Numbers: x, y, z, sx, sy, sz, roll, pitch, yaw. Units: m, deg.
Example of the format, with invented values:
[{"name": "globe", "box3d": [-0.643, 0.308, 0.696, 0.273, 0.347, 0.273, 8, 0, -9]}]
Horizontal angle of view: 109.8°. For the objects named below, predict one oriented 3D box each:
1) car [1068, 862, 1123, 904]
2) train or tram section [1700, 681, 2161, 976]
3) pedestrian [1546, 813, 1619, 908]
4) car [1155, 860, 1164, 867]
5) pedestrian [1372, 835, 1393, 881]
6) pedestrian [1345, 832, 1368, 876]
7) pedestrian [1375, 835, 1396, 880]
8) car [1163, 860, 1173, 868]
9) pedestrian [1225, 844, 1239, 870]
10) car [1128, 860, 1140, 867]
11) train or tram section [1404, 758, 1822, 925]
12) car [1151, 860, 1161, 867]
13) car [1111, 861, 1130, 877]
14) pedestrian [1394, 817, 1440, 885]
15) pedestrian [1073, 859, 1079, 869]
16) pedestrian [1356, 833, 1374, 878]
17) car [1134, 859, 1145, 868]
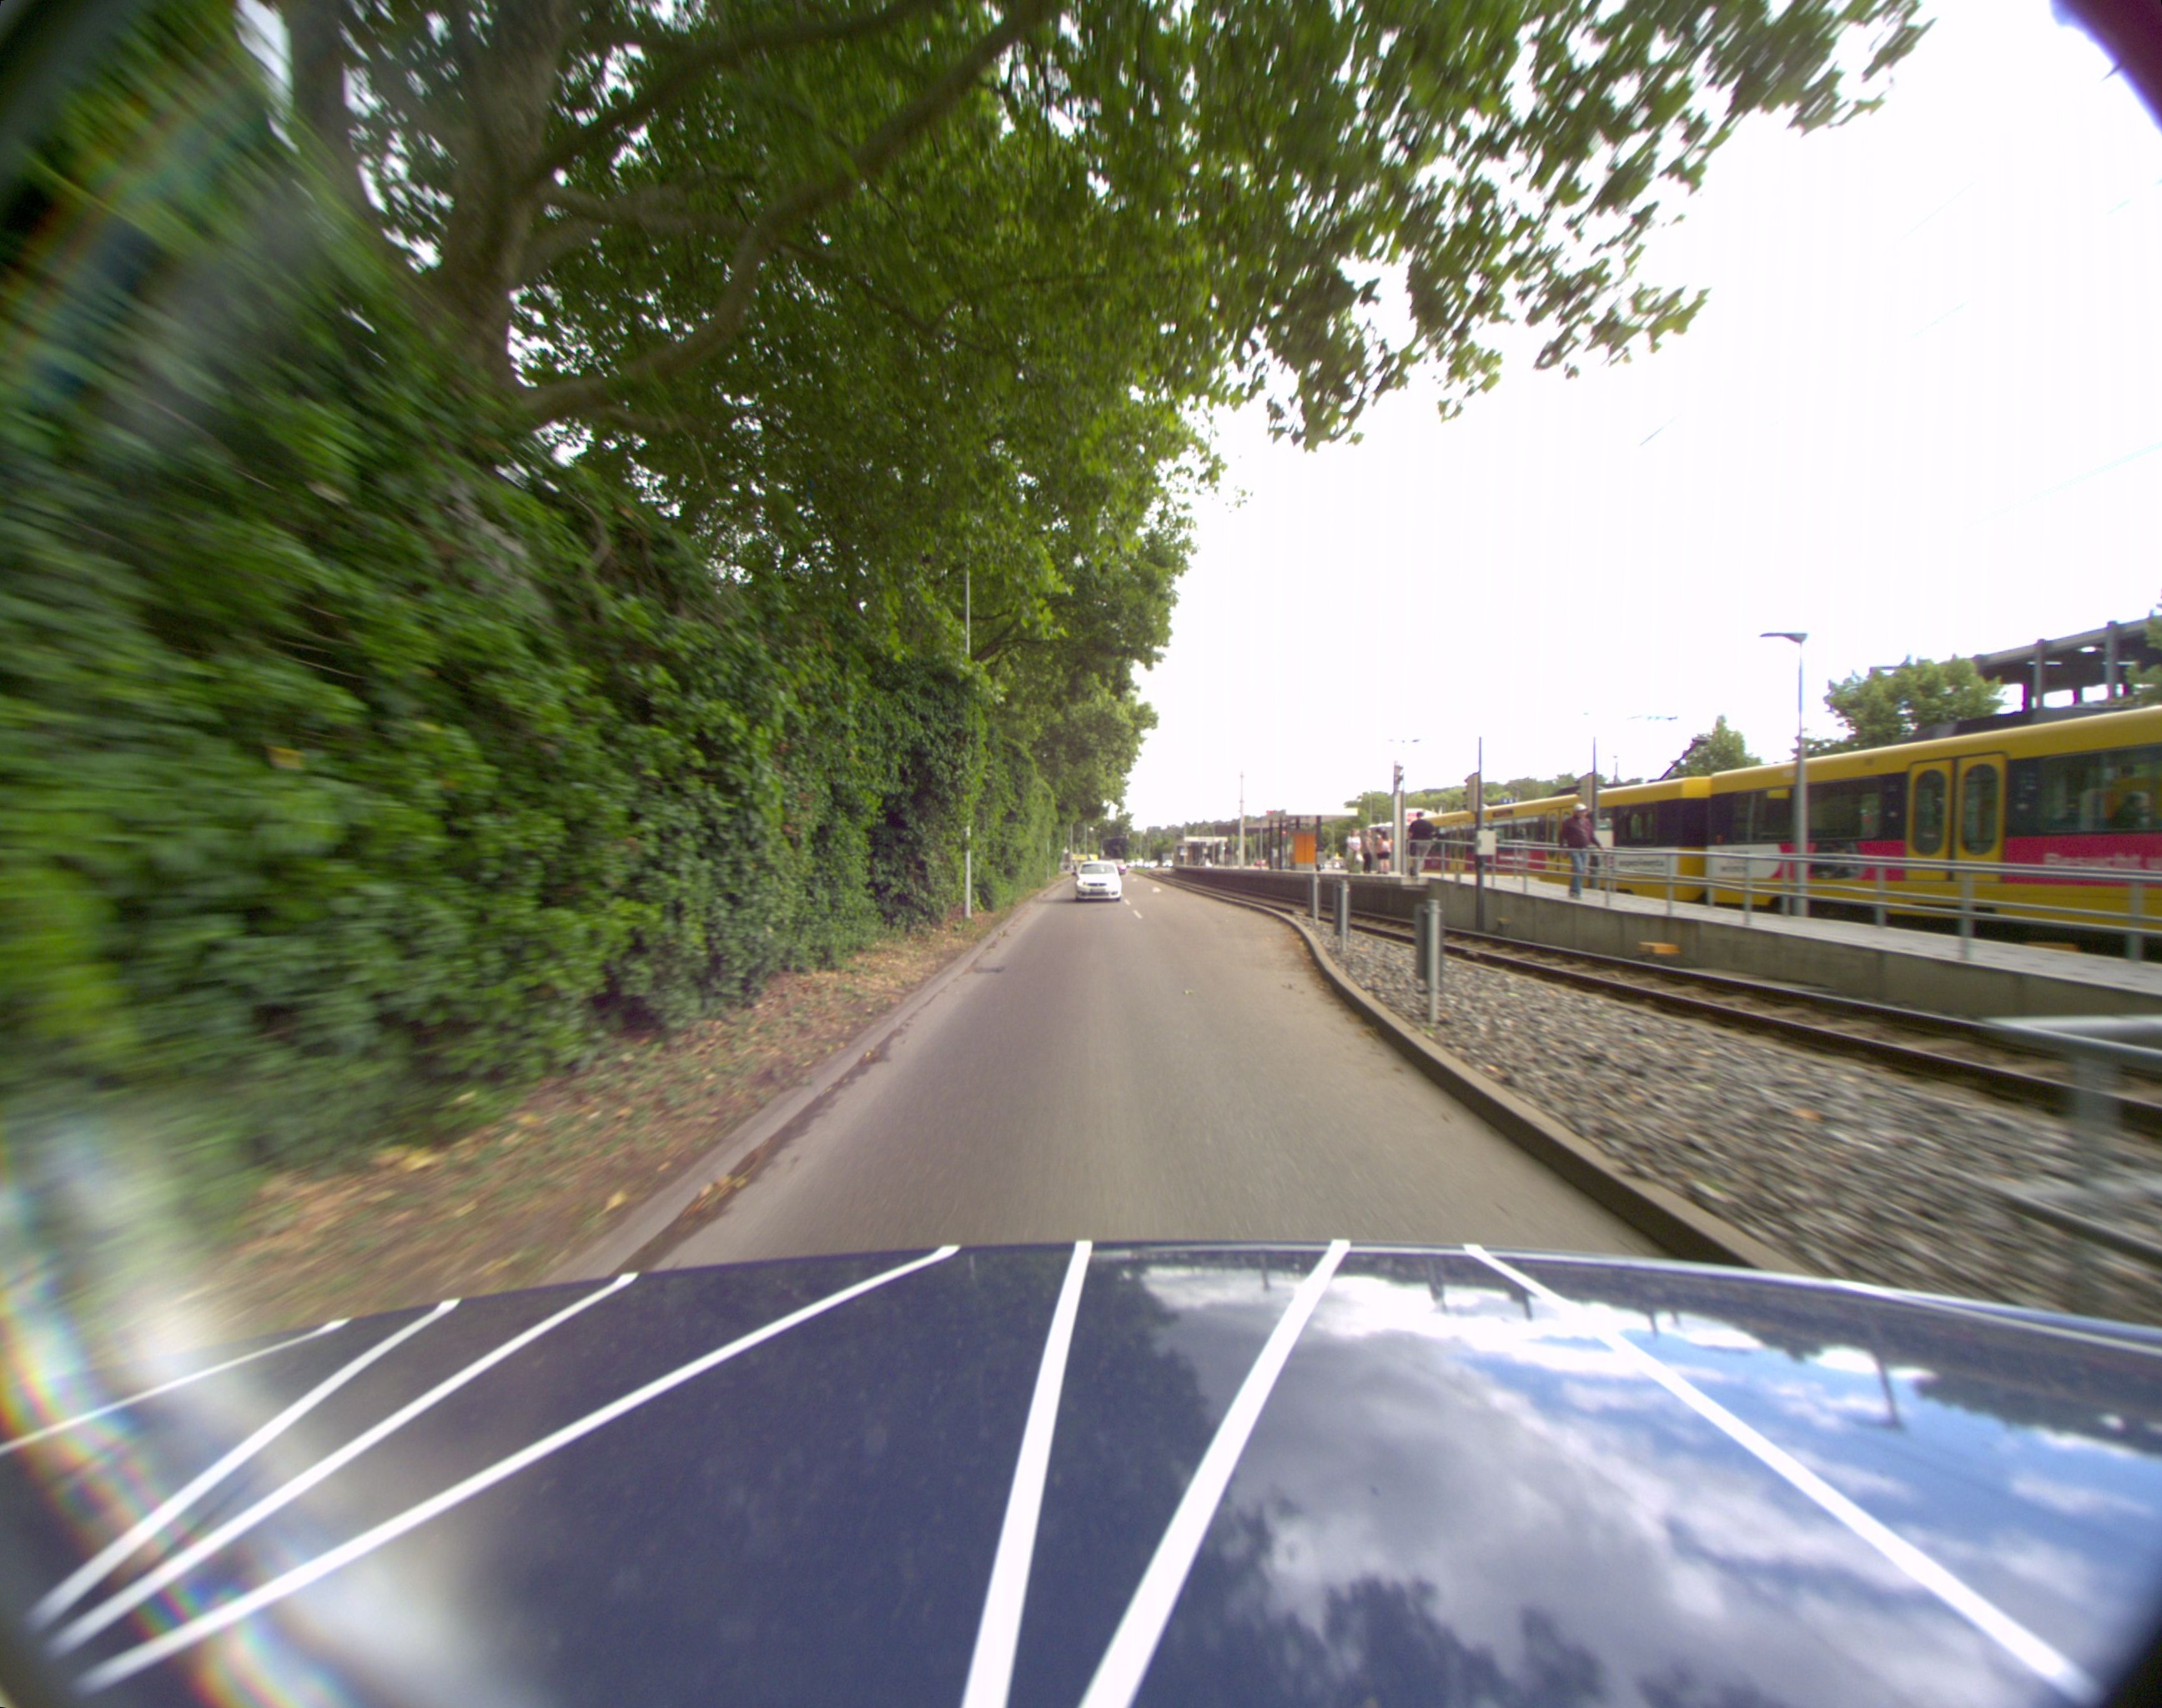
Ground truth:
[{"name": "car", "box3d": [0.489, 1.033, 28.494, 1.674, 1.439, 3.603, 0, 0, -5]}, {"name": "train or tram section", "box3d": [15.252, -0.344, 8.323, 2.762, 3.806, 18.637, 0, 0, 3]}, {"name": "pedestrian", "box3d": [9.134, 0.115, 13.873, 0.773, 1.668, 0.791, 2, 0, 1]}, {"name": "car", "box3d": [19.225, 2.238, 185.032, 1.829, 1.543, 4.004, 2, 0, 11]}, {"name": "pedestrian", "box3d": [9.770, 0.127, 24.612, 0.476, 1.474, 0.543, 2, 0, 10]}, {"name": "pedestrian", "box3d": [9.282, 0.003, 25.601, 0.519, 1.474, 0.583, 2, 0, 40]}, {"name": "pedestrian", "box3d": [9.654, 0.119, 24.088, 0.480, 1.397, 0.411, 2, 0, 0]}, {"name": "car", "box3d": [18.791, 2.117, 163.774, 1.965, 1.543, 4.004, 2, 0, 11]}, {"name": "pedestrian", "box3d": [10.232, 0.210, 51.558, 0.750, 1.734, 0.937, 2, 0, 2]}, {"name": "car", "box3d": [11.129, 1.949, 159.129, 1.718, 1.410, 4.004, 2, 0, 13]}, {"name": "train or tram section", "box3d": [16.301, -0.208, 26.972, 2.763, 3.859, 18.637, 0, 0, 3]}, {"name": "car", "box3d": [17.710, 2.194, 179.310, 1.828, 1.543, 4.004, 2, 0, 12]}, {"name": "car", "box3d": [4.137, 1.514, 79.633, 1.895, 1.607, 4.510, 0, 0, 4]}, {"name": "pedestrian", "box3d": [8.433, -0.075, 19.052, 0.878, 1.668, 0.743, 1, 0, -45]}, {"name": "pedestrian", "box3d": [-0.725, 1.422, 107.680, 0.755, 1.505, 0.671, 2, 0, 2]}, {"name": "pedestrian", "box3d": [9.258, 0.062, 24.790, 0.361, 1.456, 0.639, 0, 0, 1]}, {"name": "car", "box3d": [12.730, 2.019, 165.180, 1.807, 1.814, 4.005, 0, 0, 14]}]
